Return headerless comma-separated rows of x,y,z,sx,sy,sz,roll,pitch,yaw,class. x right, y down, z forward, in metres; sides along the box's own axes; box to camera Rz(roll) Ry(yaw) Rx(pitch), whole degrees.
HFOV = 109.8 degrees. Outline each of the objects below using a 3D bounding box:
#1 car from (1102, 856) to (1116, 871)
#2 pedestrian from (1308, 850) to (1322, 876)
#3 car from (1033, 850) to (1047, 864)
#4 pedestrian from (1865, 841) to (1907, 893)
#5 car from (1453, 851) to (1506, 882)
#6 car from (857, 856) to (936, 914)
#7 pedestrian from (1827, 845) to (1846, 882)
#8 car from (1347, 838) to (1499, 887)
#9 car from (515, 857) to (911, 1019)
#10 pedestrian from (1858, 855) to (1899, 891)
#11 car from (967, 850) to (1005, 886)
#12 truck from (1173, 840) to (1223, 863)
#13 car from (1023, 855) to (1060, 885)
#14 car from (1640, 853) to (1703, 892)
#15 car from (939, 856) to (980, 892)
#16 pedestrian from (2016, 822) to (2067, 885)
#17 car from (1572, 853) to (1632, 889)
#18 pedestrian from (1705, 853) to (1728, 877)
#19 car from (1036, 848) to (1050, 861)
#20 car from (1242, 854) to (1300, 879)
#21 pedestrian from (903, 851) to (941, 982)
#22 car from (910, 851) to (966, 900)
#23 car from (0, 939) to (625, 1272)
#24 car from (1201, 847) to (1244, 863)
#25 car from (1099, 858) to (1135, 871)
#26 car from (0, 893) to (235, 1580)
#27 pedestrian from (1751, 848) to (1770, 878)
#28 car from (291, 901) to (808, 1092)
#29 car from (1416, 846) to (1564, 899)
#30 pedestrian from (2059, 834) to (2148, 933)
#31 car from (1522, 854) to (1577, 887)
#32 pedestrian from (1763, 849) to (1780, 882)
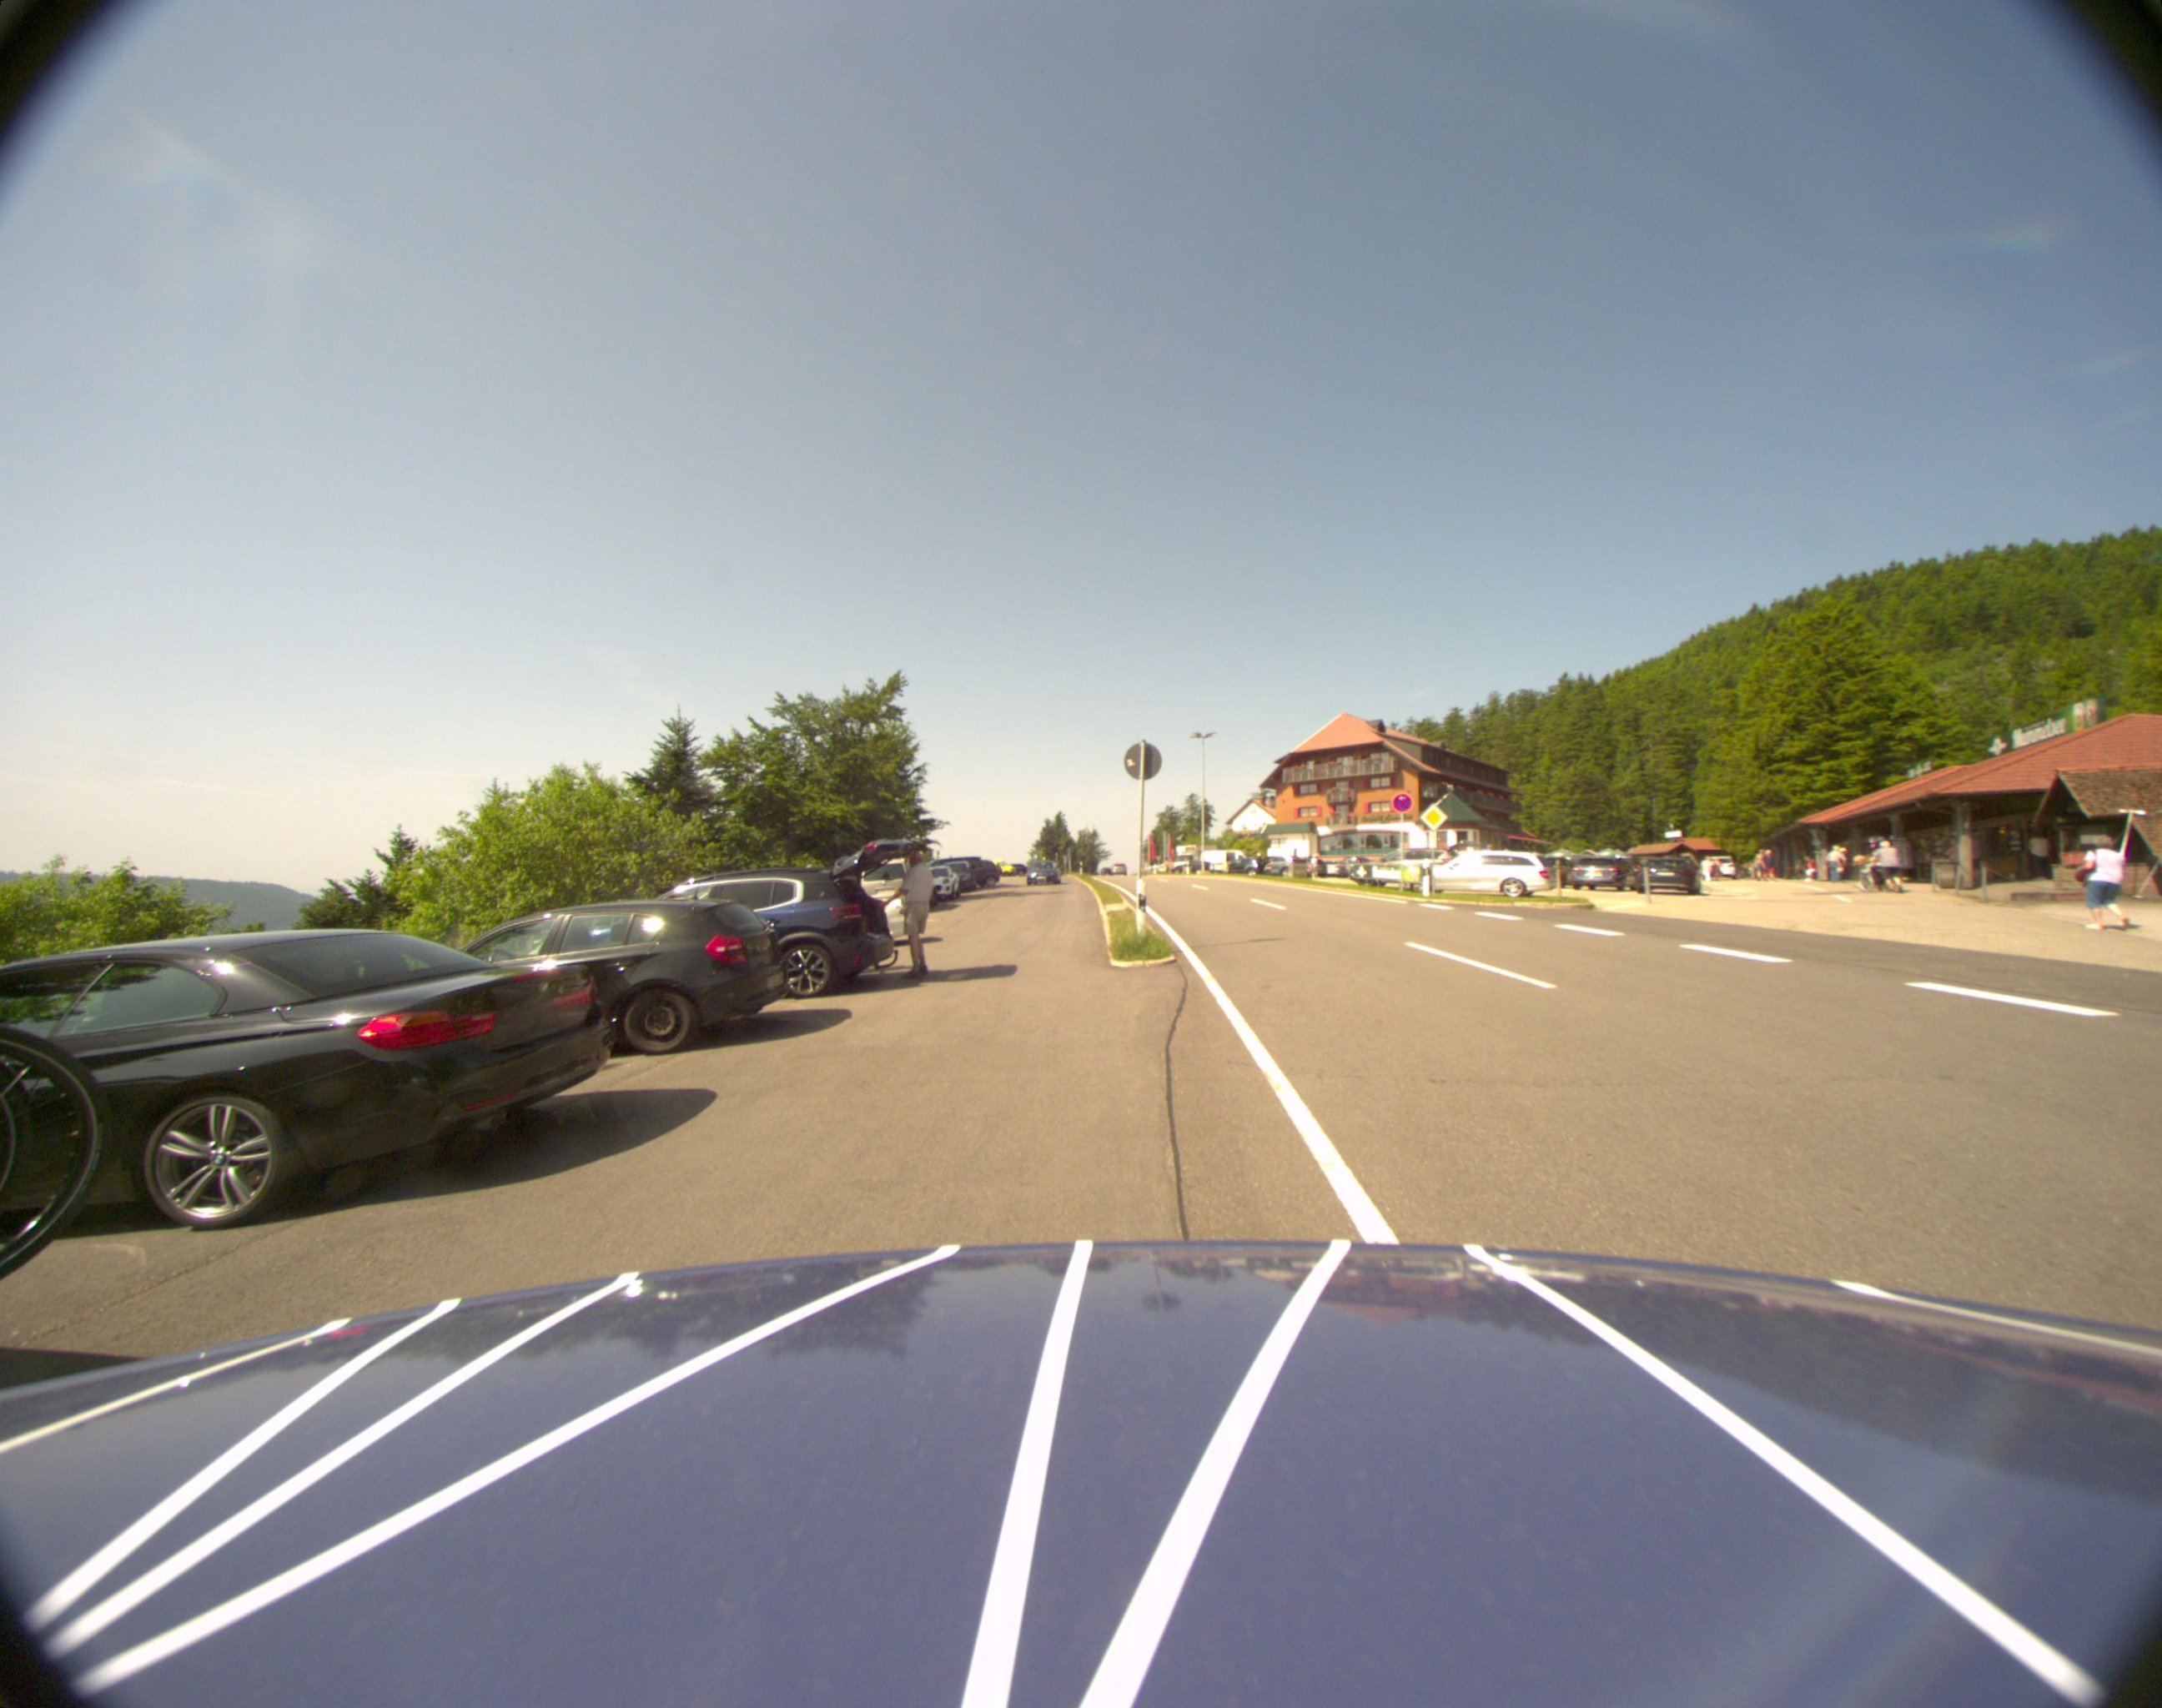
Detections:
4.441,1.527,119.982,1.999,2.200,3.999,-2,1,-1,car
15.829,0.601,51.451,0.779,1.690,0.684,-1,1,6,pedestrian
-6.292,0.458,116.878,1.999,2.002,3.998,-2,1,-4,car
26.615,0.425,25.131,0.770,1.657,0.891,-1,1,33,pedestrian
21.686,0.651,41.302,1.710,1.544,3.141,-1,1,43,car
-6.655,1.056,27.789,1.866,1.830,3.882,-2,1,0,car
33.378,0.414,33.577,0.521,1.614,0.538,-1,1,39,pedestrian
13.875,0.342,30.990,5.349,1.859,2.004,-1,0,35,car
-4.767,1.052,10.309,4.323,1.811,2.000,-3,0,3,car
27.133,0.640,25.878,0.770,1.190,0.891,-1,1,33,pedestrian
-5.861,0.806,46.643,2.000,2.002,3.996,-2,1,-10,car
16.042,-0.432,103.718,2.862,2.813,8.777,-2,1,36,truck
-2.296,0.914,44.930,1.999,1.537,3.999,-2,1,-2,car
22.568,0.685,29.021,1.708,1.387,3.323,-1,-1,41,car
-6.482,1.028,40.867,2.000,1.734,3.997,-2,1,-7,car
31.230,-0.014,24.721,0.894,2.002,0.789,-1,2,42,pedestrian
21.802,0.688,31.753,1.714,1.425,3.323,-1,-1,41,car
40.113,0.679,47.973,0.985,1.487,0.891,-1,1,31,pedestrian
-6.171,0.115,122.205,1.952,1.970,4.068,-1,0,-6,car
12.665,0.833,50.809,1.719,1.583,3.325,-2,1,-43,car
-2.258,0.873,10.827,0.367,1.812,0.549,-1,1,3,pedestrian
-6.432,0.919,34.586,1.999,2.002,3.998,-2,1,-5,car
-4.893,1.288,4.252,3.707,1.261,1.565,-4,-1,3,car
17.947,0.078,96.508,5.248,1.894,2.001,-1,1,8,car
4.208,1.214,89.600,2.003,1.402,3.989,-3,1,-39,car
-5.216,1.150,1.462,5.112,1.610,2.001,-5,0,5,car
38.834,0.523,43.432,0.534,1.664,0.681,-2,1,-35,pedestrian
-4.817,1.259,7.354,3.684,1.343,1.738,-2,0,-3,car
13.306,0.567,24.829,3.952,1.579,1.793,-1,0,40,car
18.645,0.518,13.875,0.638,1.731,0.910,-2,1,-42,pedestrian
21.578,0.730,34.973,1.636,1.425,3.323,-1,-1,41,car
36.492,0.607,40.167,0.469,1.755,0.572,-2,1,-35,pedestrian
